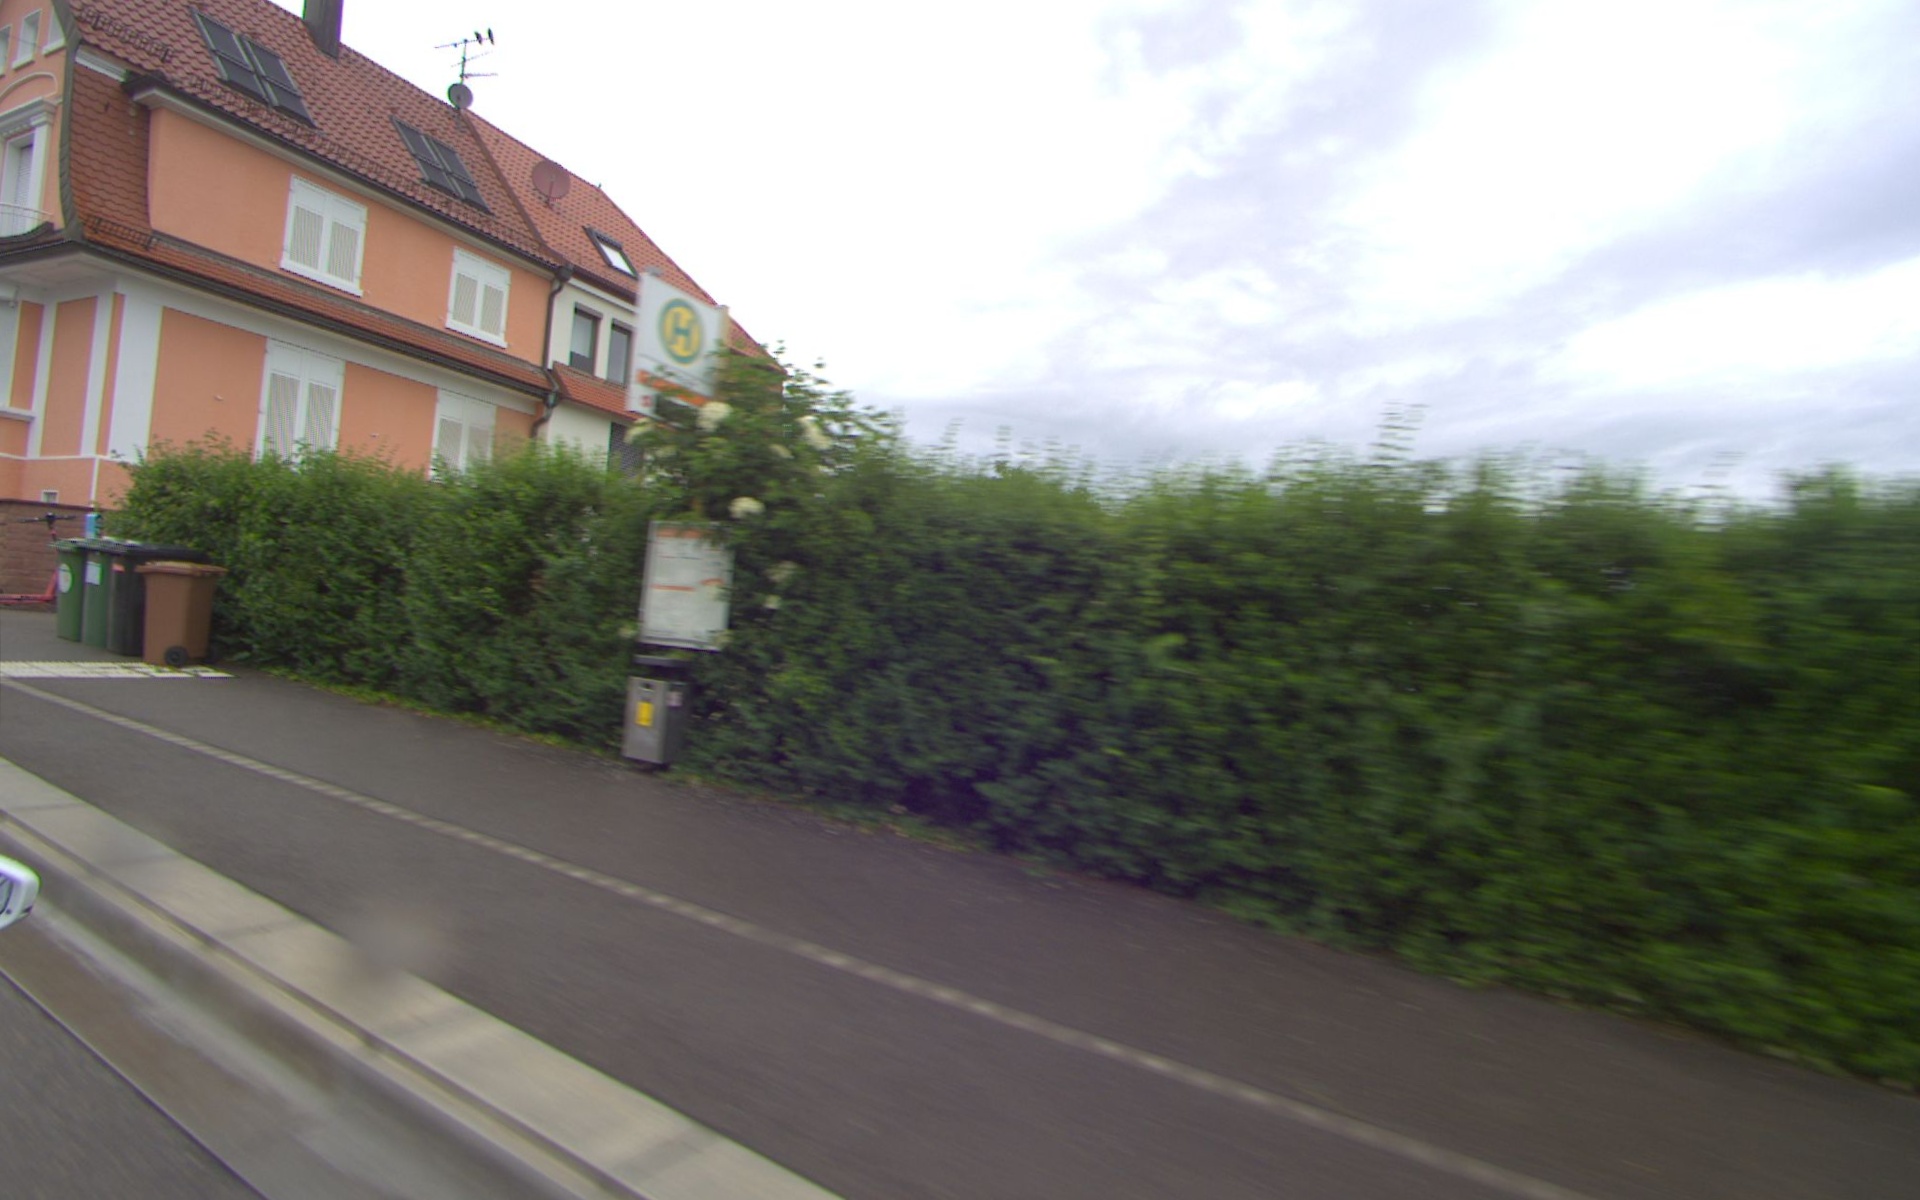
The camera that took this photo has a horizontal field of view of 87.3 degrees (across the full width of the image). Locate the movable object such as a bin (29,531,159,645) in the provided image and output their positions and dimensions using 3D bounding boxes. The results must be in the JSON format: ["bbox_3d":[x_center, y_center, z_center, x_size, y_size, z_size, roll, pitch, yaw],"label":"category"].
[{"bbox_3d":[-8.797,-0.113,10.224,0.744,1.043,0.712,7,1,28],"label":"movable object such as a bin"}]

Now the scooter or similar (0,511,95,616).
[{"bbox_3d":[-12.035,-0.483,12.887,1.247,1.239,0.690,5,0,-29],"label":"scooter or similar"}]

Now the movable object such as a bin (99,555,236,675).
[{"bbox_3d":[-7.207,0.147,9.173,0.658,0.979,0.571,8,-2,-3],"label":"movable object such as a bin"}]
